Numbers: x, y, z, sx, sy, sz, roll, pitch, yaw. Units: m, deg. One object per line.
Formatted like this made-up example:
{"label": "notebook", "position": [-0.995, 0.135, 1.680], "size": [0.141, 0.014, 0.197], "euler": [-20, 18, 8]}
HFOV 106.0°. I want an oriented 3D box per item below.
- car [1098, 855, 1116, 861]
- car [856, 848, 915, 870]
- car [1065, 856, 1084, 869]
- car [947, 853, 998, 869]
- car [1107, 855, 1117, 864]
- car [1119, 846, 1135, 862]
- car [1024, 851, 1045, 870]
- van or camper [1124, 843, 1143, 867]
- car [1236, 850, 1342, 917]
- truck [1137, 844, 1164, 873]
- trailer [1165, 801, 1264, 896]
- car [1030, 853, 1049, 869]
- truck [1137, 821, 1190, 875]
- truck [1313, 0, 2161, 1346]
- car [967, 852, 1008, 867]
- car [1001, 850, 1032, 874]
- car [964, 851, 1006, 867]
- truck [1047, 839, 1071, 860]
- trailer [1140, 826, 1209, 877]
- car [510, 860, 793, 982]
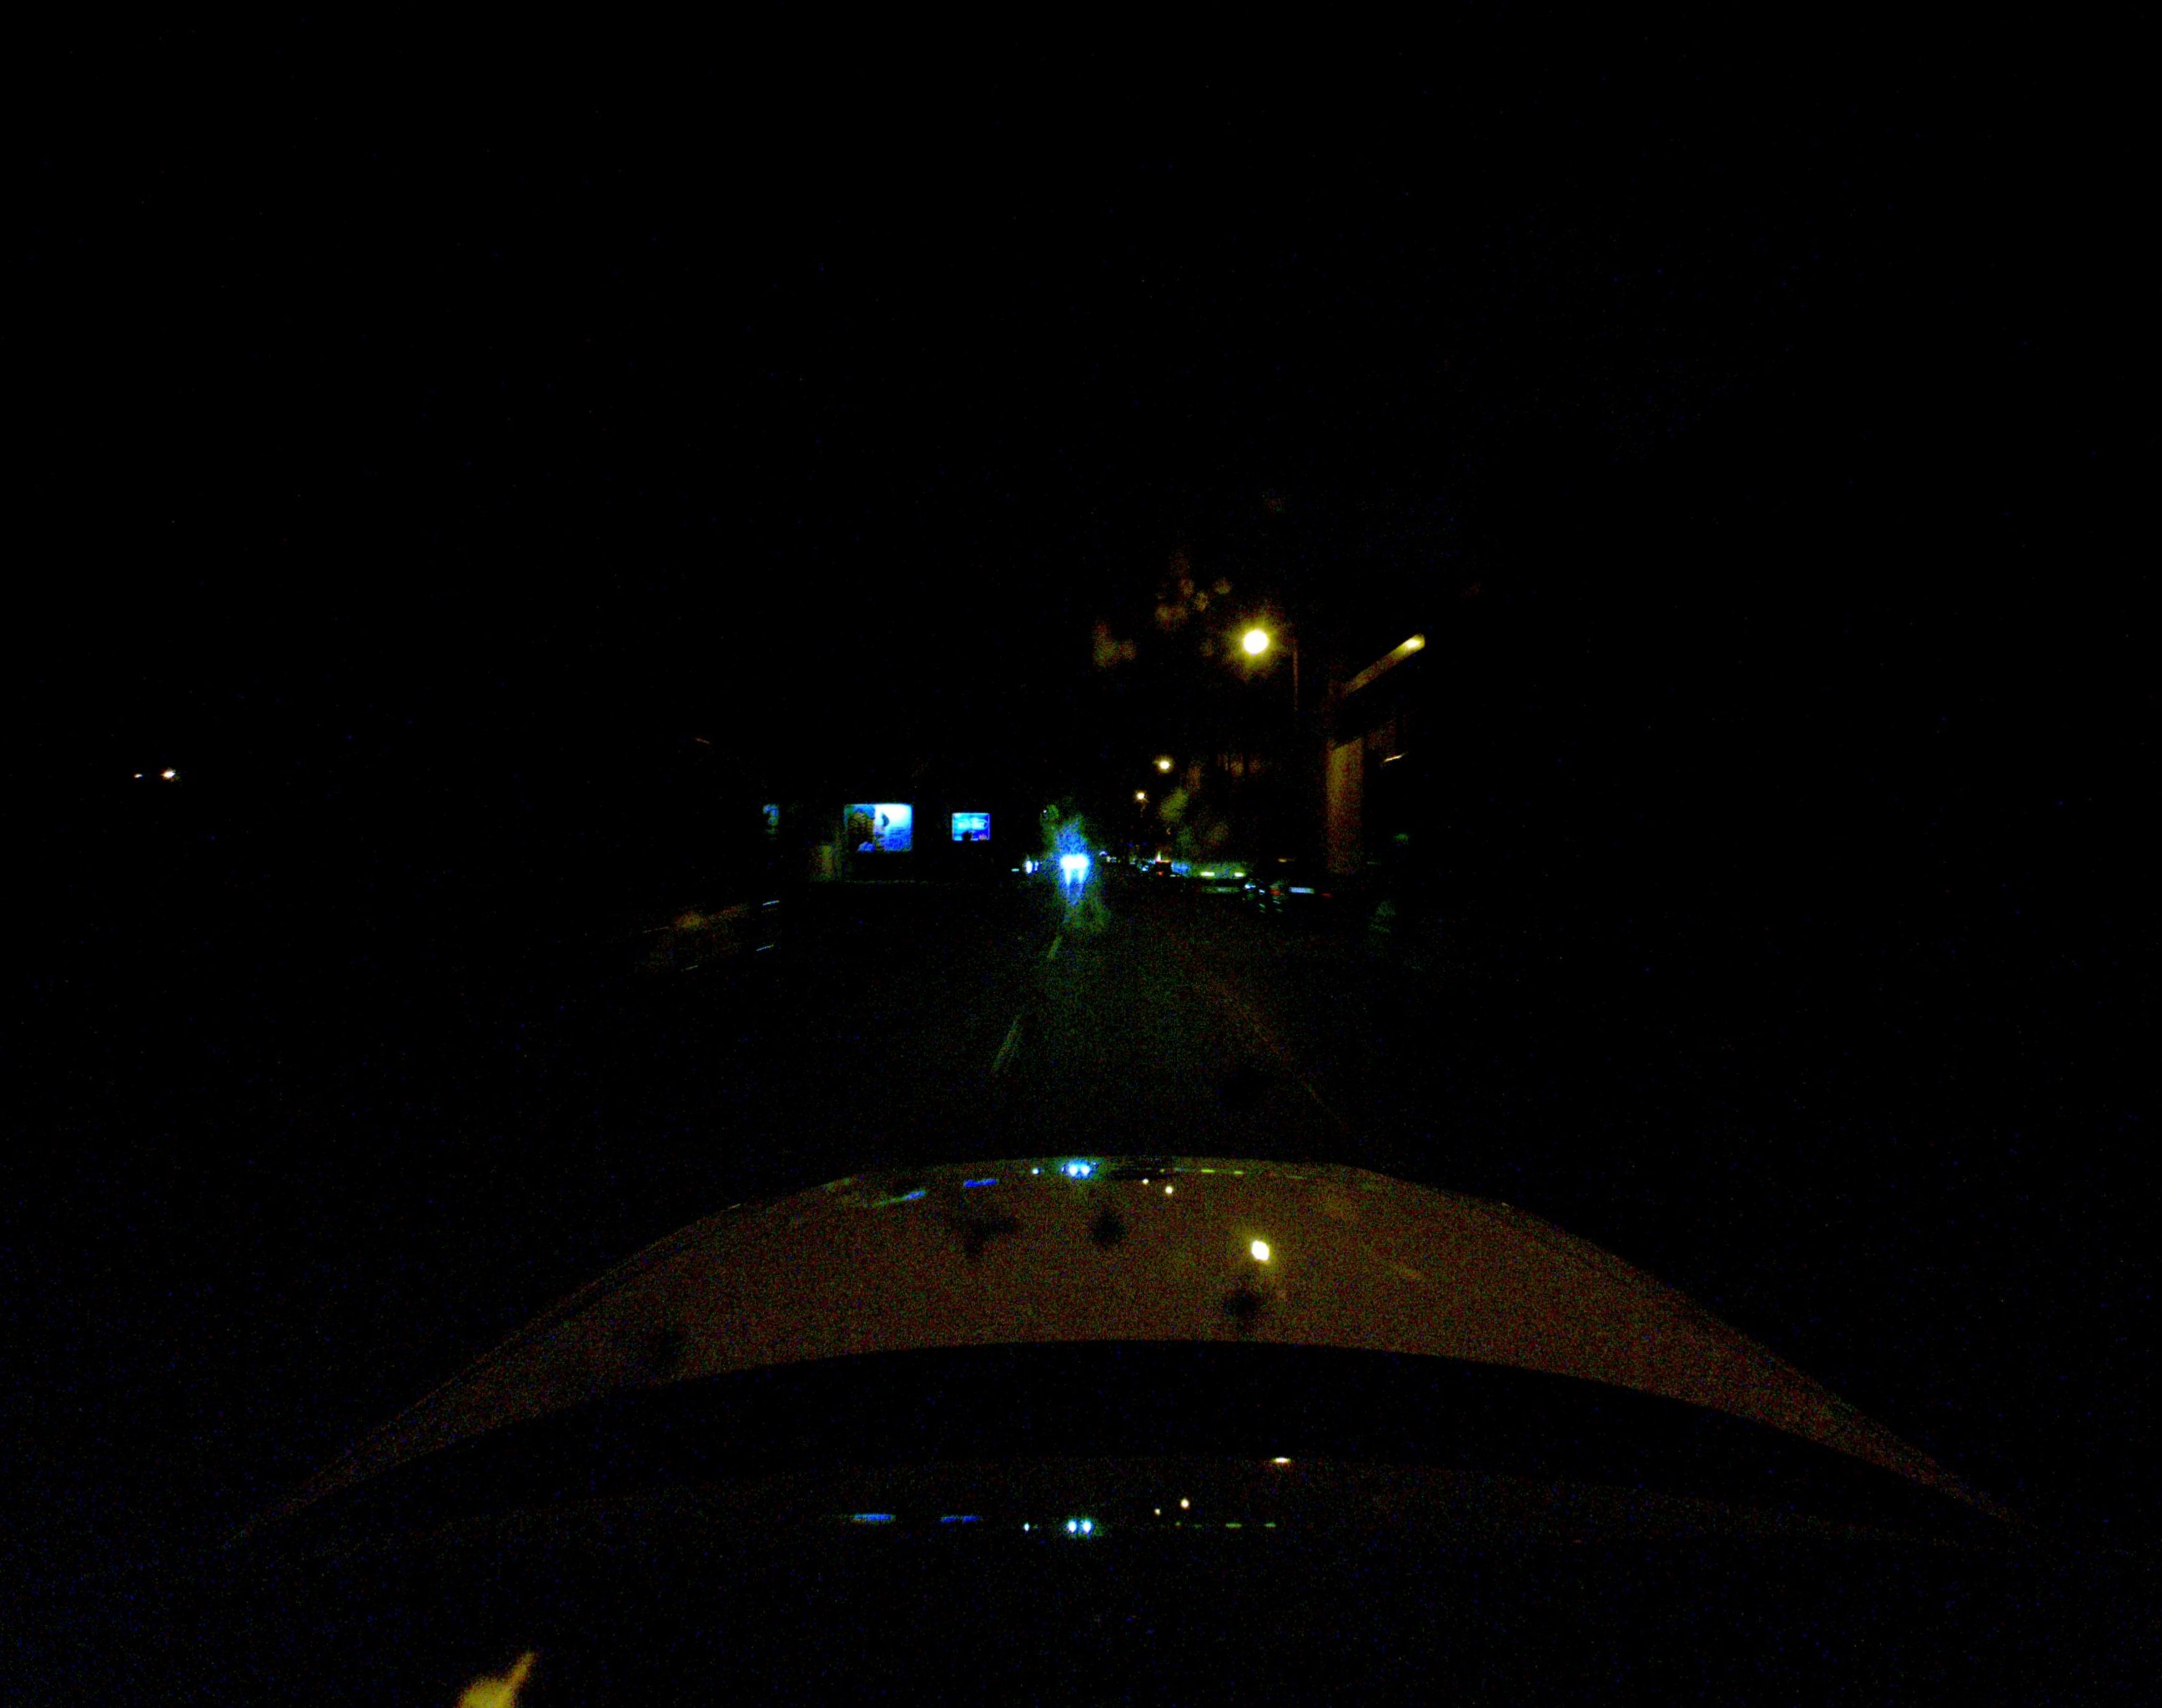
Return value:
{"label": "car", "position": [6.642, 0.981, 206.461], "size": [4.510, 1.379, 2.002], "euler": [0, -1, 4]}
{"label": "car", "position": [-14.701, 0.347, 61.291], "size": [3.976, 1.651, 1.999], "euler": [0, 0, -2]}
{"label": "car", "position": [-0.663, 0.970, 90.124], "size": [1.986, 1.398, 4.001], "euler": [0, 0, 1]}
{"label": "car", "position": [-10.756, 0.691, 80.678], "size": [4.631, 1.485, 1.986], "euler": [0, 0, -22]}
{"label": "car", "position": [6.139, 1.051, 161.921], "size": [1.986, 1.684, 4.001], "euler": [0, 0, 1]}
{"label": "car", "position": [6.276, 0.013, 111.548], "size": [1.986, 2.145, 4.001], "euler": [0, 0, 1]}
{"label": "car", "position": [-4.284, 0.575, 75.038], "size": [1.673, 1.736, 4.354], "euler": [0, 0, 0]}
{"label": "van or camper", "position": [5.885, 0.131, 91.147], "size": [1.986, 2.581, 4.917], "euler": [0, 0, 2]}
{"label": "car", "position": [5.260, 0.710, 21.065], "size": [1.845, 1.519, 3.819], "euler": [-1, -1, 2]}
{"label": "truck", "position": [5.845, 0.373, 69.402], "size": [1.986, 2.407, 5.294], "euler": [0, 0, 1]}
{"label": "trailer", "position": [5.296, -0.180, 33.768], "size": [2.679, 3.464, 7.805], "euler": [0, -1, -1]}
{"label": "car", "position": [-4.575, 0.750, 89.814], "size": [1.891, 1.736, 4.354], "euler": [0, 0, -1]}
{"label": "truck", "position": [5.688, -0.377, 57.239], "size": [3.140, 3.463, 6.674], "euler": [-1, -1, 1]}
{"label": "truck", "position": [4.836, -0.577, 5.436], "size": [3.509, 3.983, 10.339], "euler": [-1, -1, 0]}
{"label": "car", "position": [-10.250, 0.589, 89.030], "size": [4.007, 1.595, 1.983], "euler": [-1, -1, -25]}
{"label": "car", "position": [-5.019, 0.608, 64.033], "size": [1.986, 1.794, 4.001], "euler": [0, 0, 1]}
{"label": "car", "position": [-10.127, 0.556, 86.109], "size": [4.007, 1.595, 1.983], "euler": [-1, -1, -25]}
{"label": "truck", "position": [-3.877, -0.722, 141.245], "size": [3.883, 3.621, 8.248], "euler": [0, 0, -4]}
{"label": "trailer", "position": [5.527, -0.080, 50.093], "size": [3.173, 2.749, 10.717], "euler": [-1, -1, 1]}
{"label": "car", "position": [-5.783, 0.805, 11.627], "size": [1.834, 1.420, 4.001], "euler": [0, 0, 1]}
